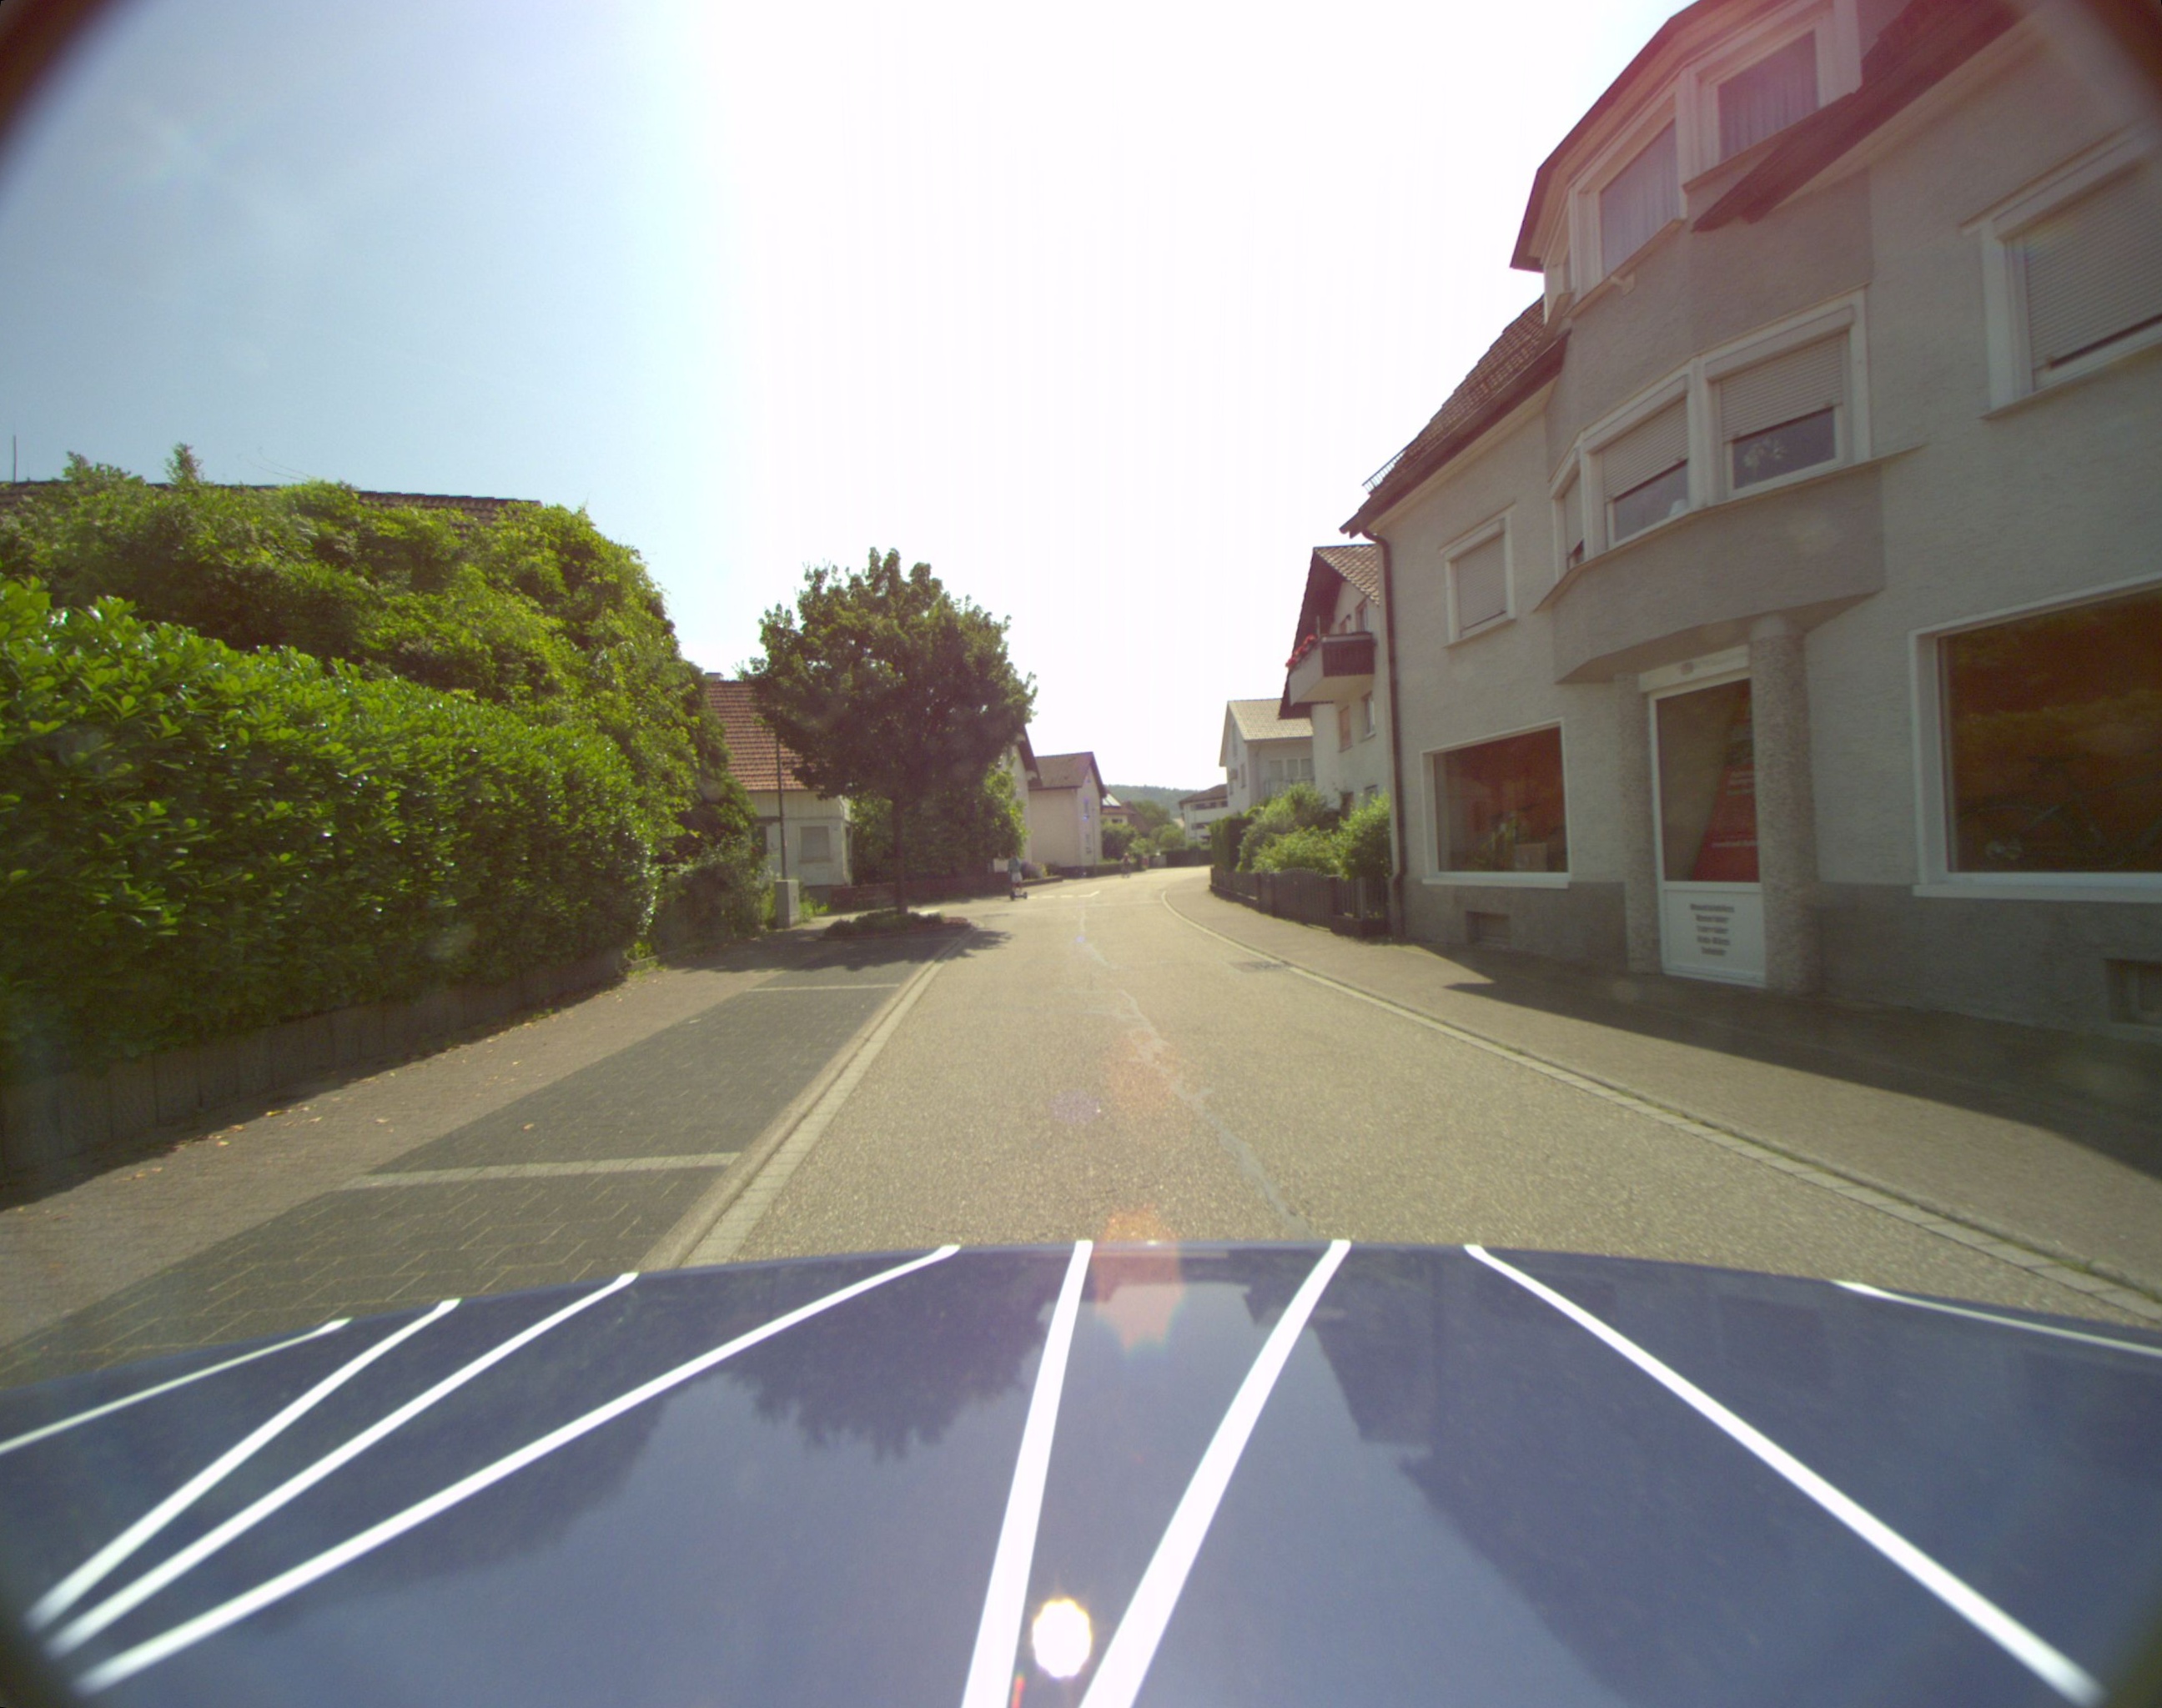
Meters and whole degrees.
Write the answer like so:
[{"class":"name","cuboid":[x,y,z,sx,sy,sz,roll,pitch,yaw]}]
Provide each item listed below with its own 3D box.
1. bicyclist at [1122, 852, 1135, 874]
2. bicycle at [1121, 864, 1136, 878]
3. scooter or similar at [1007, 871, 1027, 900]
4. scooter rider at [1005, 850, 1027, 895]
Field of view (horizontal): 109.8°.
[{"class":"bicyclist","cuboid":[3.292,0.605,52.930,0.546,1.481,0.798,-2,1,26]},{"class":"bicycle","cuboid":[3.292,1.167,52.885,0.520,0.898,1.315,-2,0,26]},{"class":"scooter or similar","cuboid":[-2.469,1.213,29.323,0.542,1.083,0.692,-2,0,10]},{"class":"scooter rider","cuboid":[-2.494,0.704,29.317,0.616,1.714,0.640,-2,1,10]}]
